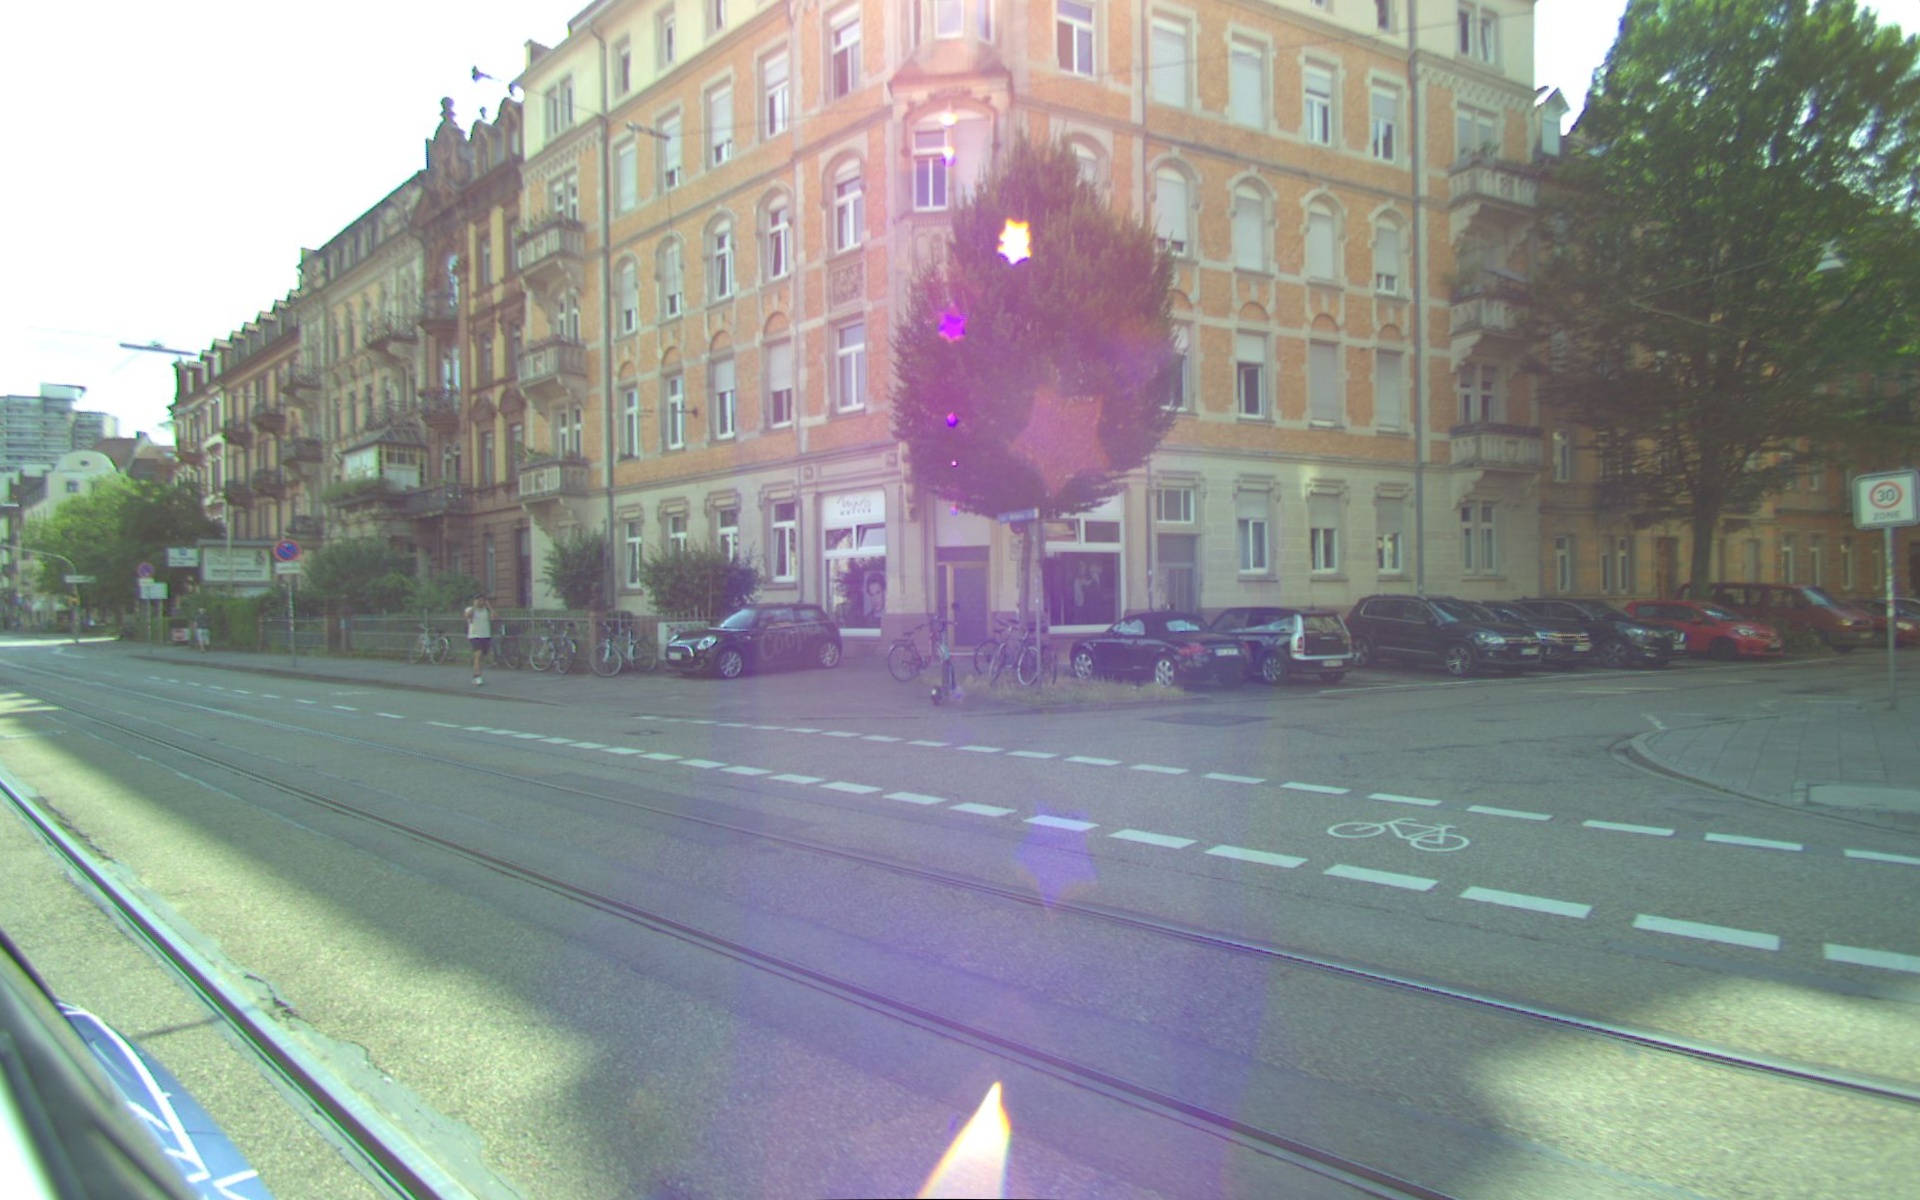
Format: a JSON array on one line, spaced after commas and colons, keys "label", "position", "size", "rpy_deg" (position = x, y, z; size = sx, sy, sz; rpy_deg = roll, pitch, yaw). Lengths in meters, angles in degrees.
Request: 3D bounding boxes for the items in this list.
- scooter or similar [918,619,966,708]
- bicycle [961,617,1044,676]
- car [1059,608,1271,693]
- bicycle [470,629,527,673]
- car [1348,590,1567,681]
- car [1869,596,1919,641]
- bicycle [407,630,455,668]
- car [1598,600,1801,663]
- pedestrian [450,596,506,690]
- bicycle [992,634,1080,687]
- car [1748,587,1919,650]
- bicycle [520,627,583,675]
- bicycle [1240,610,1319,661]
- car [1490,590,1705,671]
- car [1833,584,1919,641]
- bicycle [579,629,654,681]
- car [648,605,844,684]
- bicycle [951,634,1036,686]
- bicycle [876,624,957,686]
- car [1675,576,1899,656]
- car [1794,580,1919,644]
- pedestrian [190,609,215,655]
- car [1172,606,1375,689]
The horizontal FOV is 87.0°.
[{"label": "scooter or similar", "position": [-0.257, 0.937, 15.382], "size": [0.400, 1.244, 1.360], "rpy_deg": [-1, 0, 13]}, {"label": "bicycle", "position": [0.845, 0.888, 19.801], "size": [1.671, 1.071, 0.525], "rpy_deg": [-1, -1, -38]}, {"label": "car", "position": [3.654, 0.877, 18.679], "size": [1.616, 1.370, 3.938], "rpy_deg": [0, -1, -30]}, {"label": "bicycle", "position": [-10.656, 1.159, 23.331], "size": [1.948, 0.984, 0.417], "rpy_deg": [-1, -1, 41]}, {"label": "car", "position": [10.405, 0.695, 21.478], "size": [1.591, 1.734, 4.013], "rpy_deg": [0, -1, -26]}, {"label": "car", "position": [33.936, 0.624, 34.547], "size": [1.591, 1.526, 4.013], "rpy_deg": [0, -1, -26]}, {"label": "bicycle", "position": [-13.746, 1.246, 26.258], "size": [1.948, 0.939, 0.417], "rpy_deg": [-1, -1, 41]}, {"label": "car", "position": [19.307, 0.797, 26.630], "size": [1.591, 1.508, 4.013], "rpy_deg": [0, -1, -26]}, {"label": "pedestrian", "position": [-9.436, 0.823, 19.815], "size": [1.105, 1.773, 0.527], "rpy_deg": [-1, 1, 41]}, {"label": "bicycle", "position": [1.281, 1.017, 17.423], "size": [0.516, 0.844, 1.702], "rpy_deg": [-1, -1, -36]}, {"label": "car", "position": [27.536, 0.498, 31.379], "size": [1.864, 1.796, 4.528], "rpy_deg": [0, 1, -26]}, {"label": "bicycle", "position": [-8.779, 1.083, 21.722], "size": [1.948, 0.984, 0.417], "rpy_deg": [-1, -1, 41]}, {"label": "bicycle", "position": [8.141, 0.879, 25.719], "size": [2.144, 1.218, 0.626], "rpy_deg": [-1, -1, -31]}, {"label": "car", "position": [14.869, 0.693, 23.857], "size": [1.591, 1.734, 4.013], "rpy_deg": [0, -1, -26]}, {"label": "car", "position": [32.003, 0.397, 33.595], "size": [1.864, 1.853, 4.201], "rpy_deg": [0, 1, -26]}, {"label": "bicycle", "position": [-6.977, 1.106, 20.626], "size": [0.404, 0.984, 1.437], "rpy_deg": [-2, -1, 41]}, {"label": "car", "position": [-4.377, 0.858, 20.978], "size": [3.562, 1.413, 1.788], "rpy_deg": [-1, 0, -45]}, {"label": "bicycle", "position": [0.557, 1.010, 17.355], "size": [0.516, 0.844, 1.702], "rpy_deg": [-1, -1, -36]}, {"label": "bicycle", "position": [-0.776, 1.001, 18.778], "size": [0.523, 1.071, 1.738], "rpy_deg": [-2, -1, 36]}, {"label": "car", "position": [23.367, 0.445, 28.811], "size": [1.864, 2.080, 4.527], "rpy_deg": [0, -1, -26]}, {"label": "car", "position": [29.856, 0.354, 32.378], "size": [1.864, 1.986, 4.528], "rpy_deg": [0, 1, -26]}, {"label": "pedestrian", "position": [-29.093, 1.229, 38.868], "size": [1.150, 1.716, 0.483], "rpy_deg": [-1, -1, 39]}, {"label": "car", "position": [6.011, 0.880, 19.825], "size": [1.616, 1.426, 3.800], "rpy_deg": [-1, -1, -26]}]
